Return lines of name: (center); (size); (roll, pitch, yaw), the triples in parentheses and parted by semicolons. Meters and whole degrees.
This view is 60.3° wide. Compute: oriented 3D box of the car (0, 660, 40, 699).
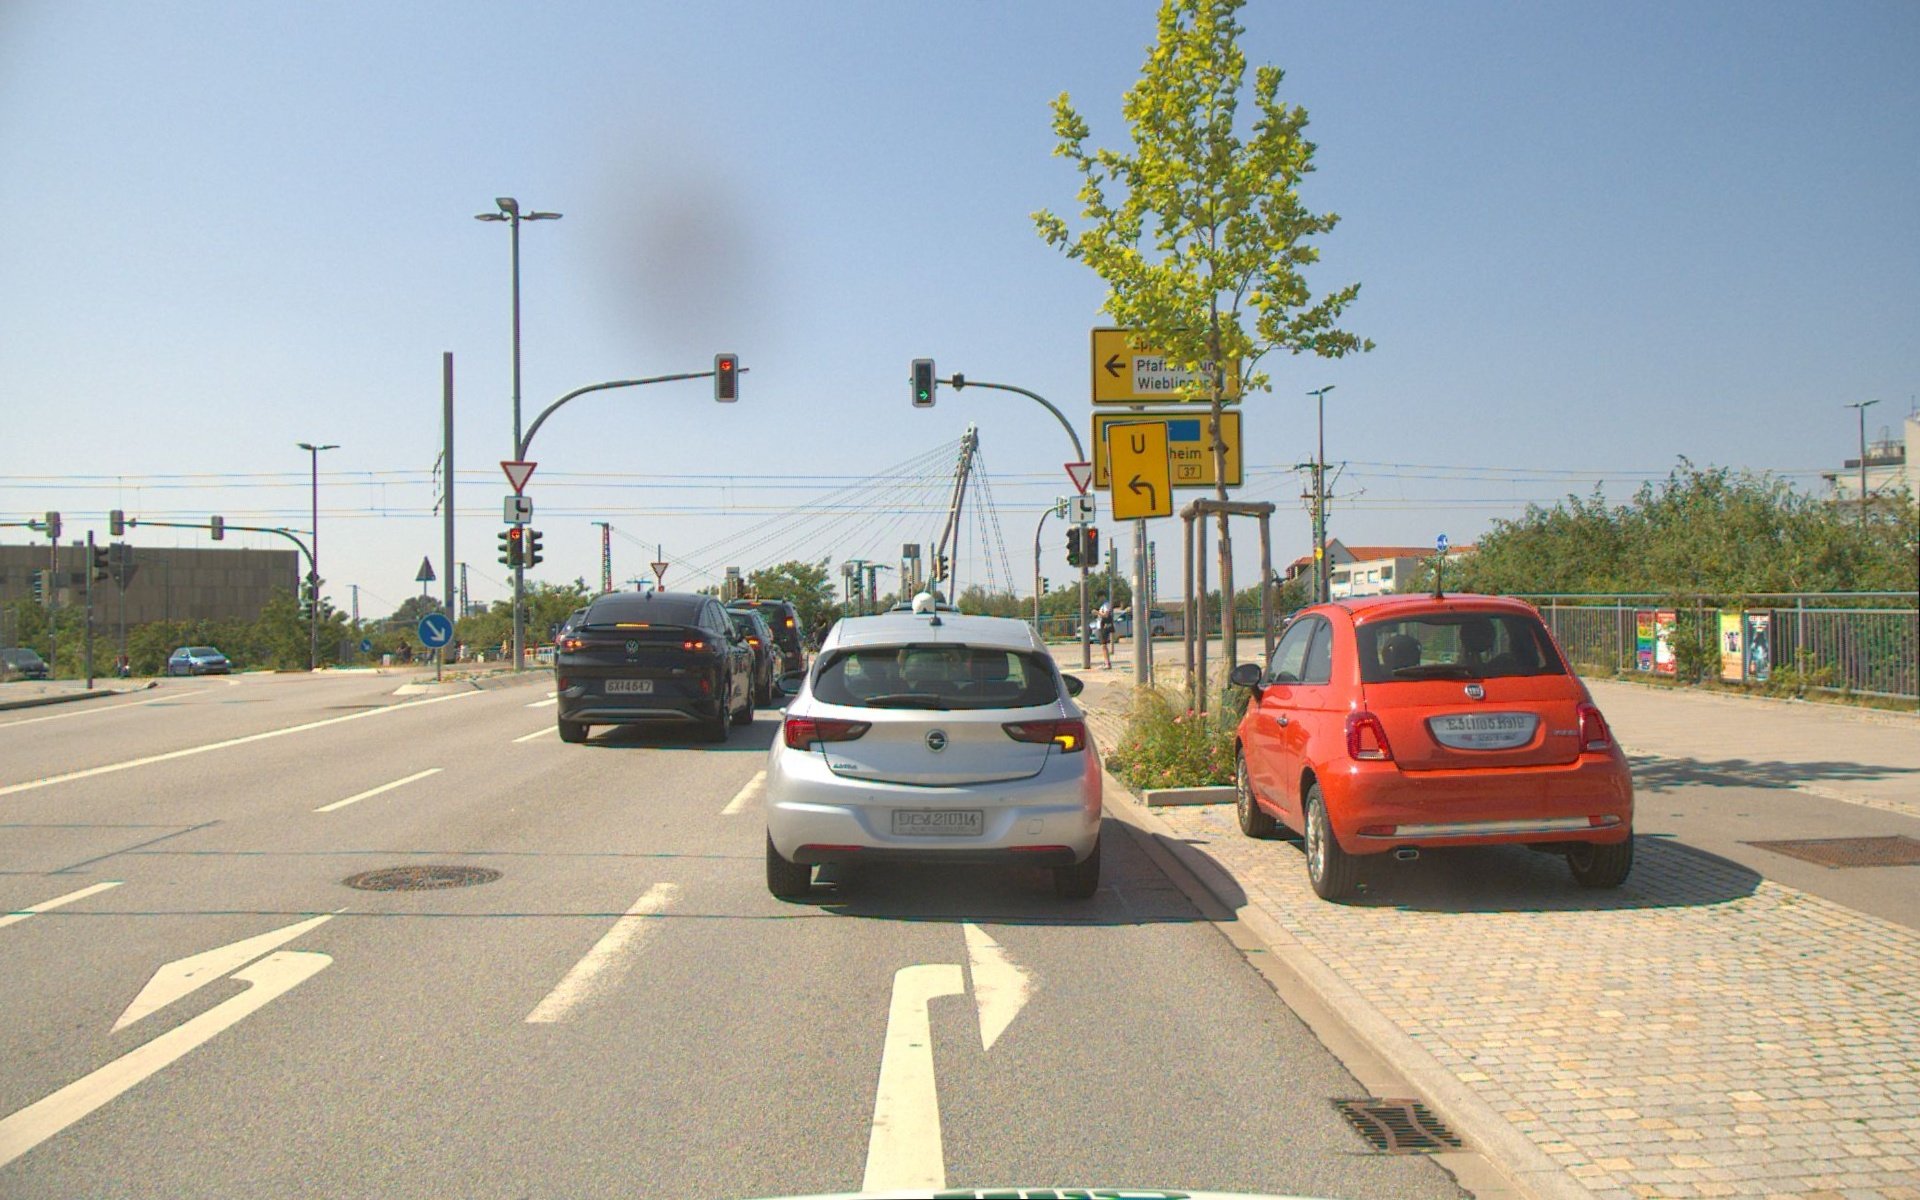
car: (-41.629, 3.472, 72.591); (1.662, 1.502, 3.358); (-1, 0, -39)

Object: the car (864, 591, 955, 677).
car: (-0.974, 0.624, 33.242); (1.689, 1.591, 4.000); (1, 0, -1)

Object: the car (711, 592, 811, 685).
car: (-3.748, 0.720, 31.676); (1.616, 1.644, 3.817); (1, -1, -3)

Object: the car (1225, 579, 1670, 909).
car: (2.616, 0.695, 9.640); (1.577, 1.522, 3.352); (-2, 0, 0)

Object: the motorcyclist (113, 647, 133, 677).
motorcyclist: (-43.029, 3.185, 85.014); (0.746, 1.520, 0.668); (2, -1, -38)

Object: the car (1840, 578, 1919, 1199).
car: (2.910, 0.638, 1.806); (1.627, 1.451, 3.998); (-2, -1, -2)

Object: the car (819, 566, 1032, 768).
car: (-0.351, 0.615, 17.590); (1.953, 1.852, 4.401); (1, 0, -1)

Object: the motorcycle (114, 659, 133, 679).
motorcycle: (-42.946, 3.539, 84.895); (0.515, 0.972, 1.908); (2, -1, -37)

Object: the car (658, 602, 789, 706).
car: (-3.574, 0.796, 25.539); (1.543, 1.459, 3.784); (1, -1, -2)

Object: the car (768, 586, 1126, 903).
car: (-0.165, 0.723, 9.970); (1.708, 1.504, 3.997); (1, -1, -3)

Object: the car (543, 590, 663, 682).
car: (-6.577, 0.652, 30.786); (1.565, 1.574, 3.760); (1, -1, -3)

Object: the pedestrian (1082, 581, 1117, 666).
pedestrian: (3.140, 0.532, 37.206); (0.634, 1.868, 0.797); (-2, -1, -3)

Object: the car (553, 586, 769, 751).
car: (-3.337, 0.735, 19.264); (1.765, 1.670, 4.365); (1, -1, -1)

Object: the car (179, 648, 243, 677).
car: (-36.055, 3.001, 79.602); (1.806, 1.354, 3.941); (2, -2, -40)
